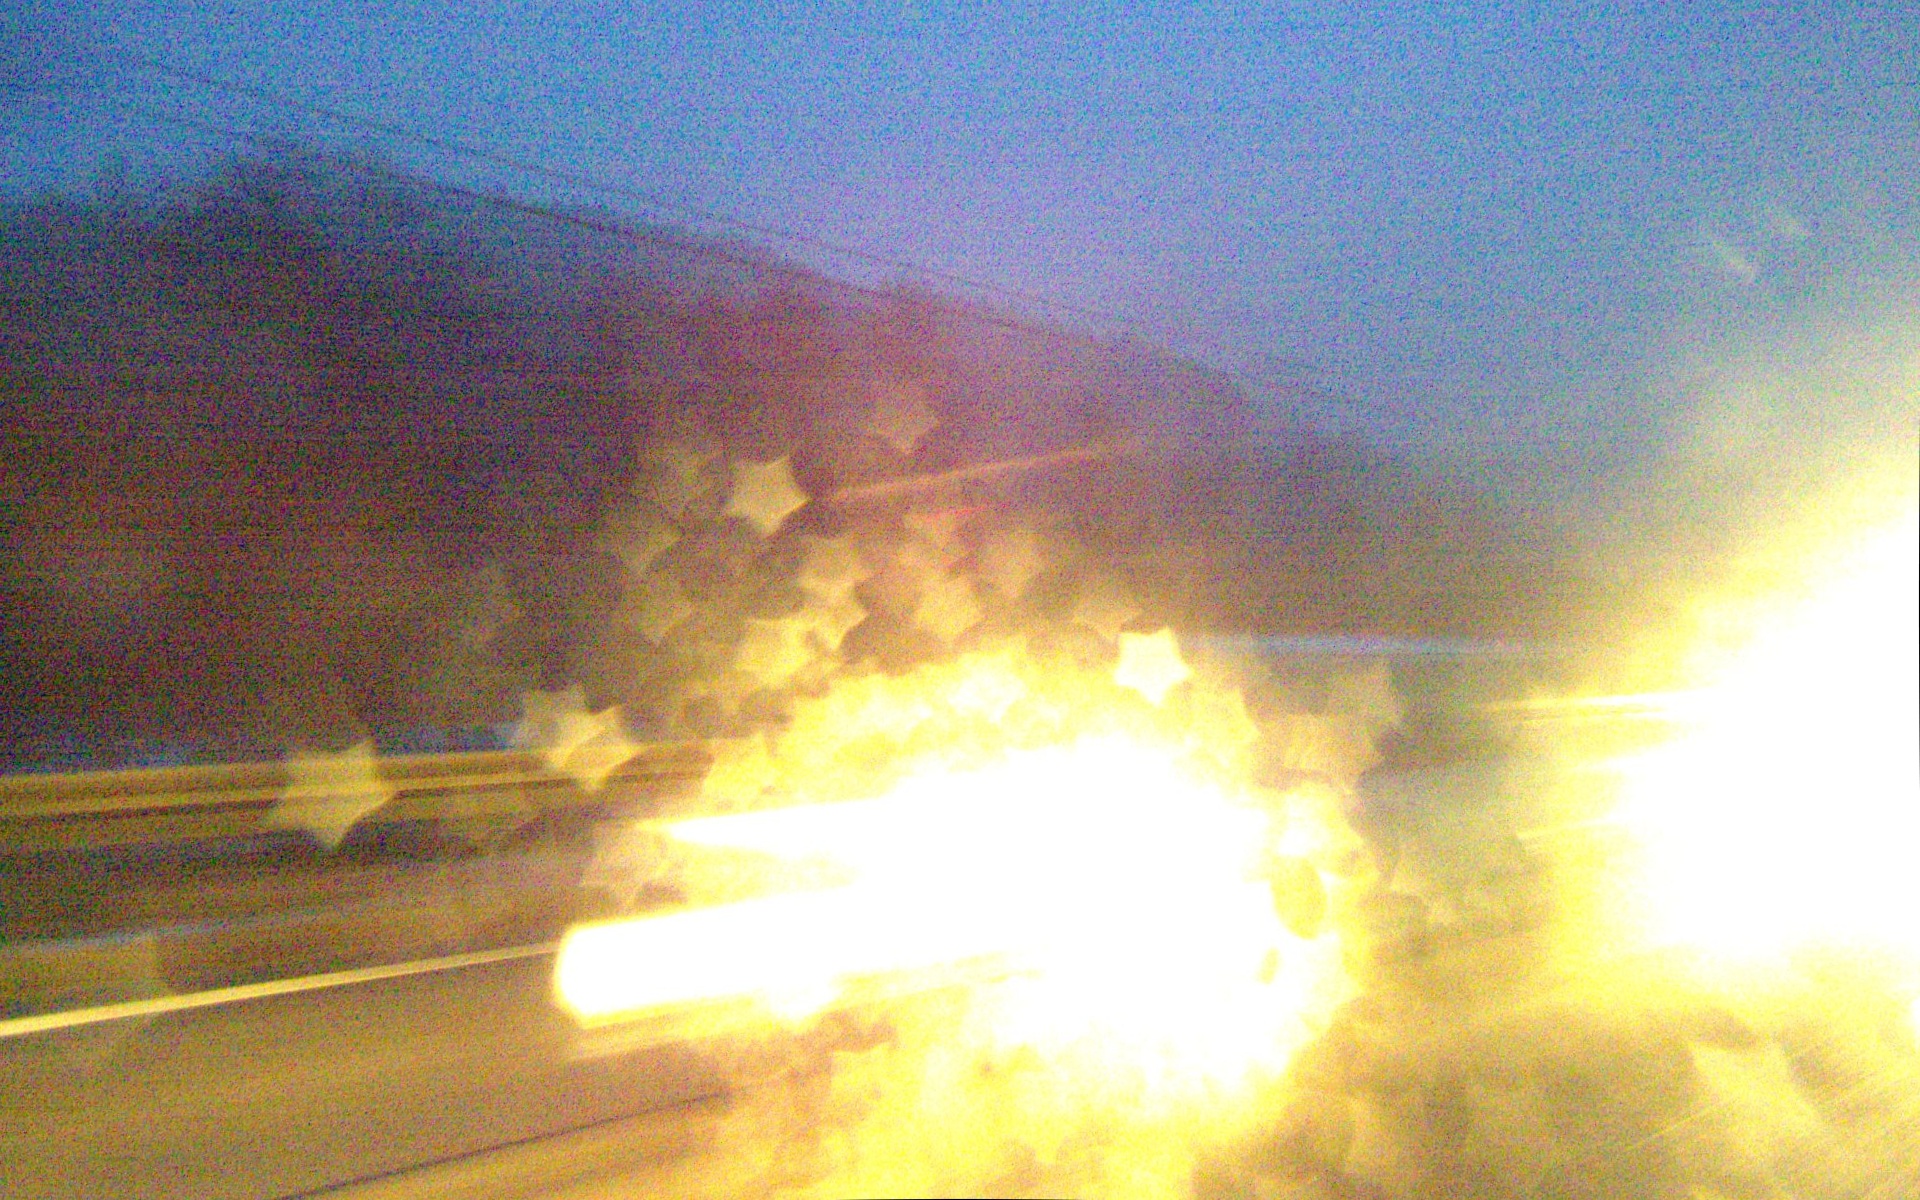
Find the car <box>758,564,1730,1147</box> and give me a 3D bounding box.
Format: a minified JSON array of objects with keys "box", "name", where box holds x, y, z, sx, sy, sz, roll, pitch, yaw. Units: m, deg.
[{"box":[1.310,0.693,4.423,3.878,1.495,1.984,2,0,-30],"name":"car"}]
